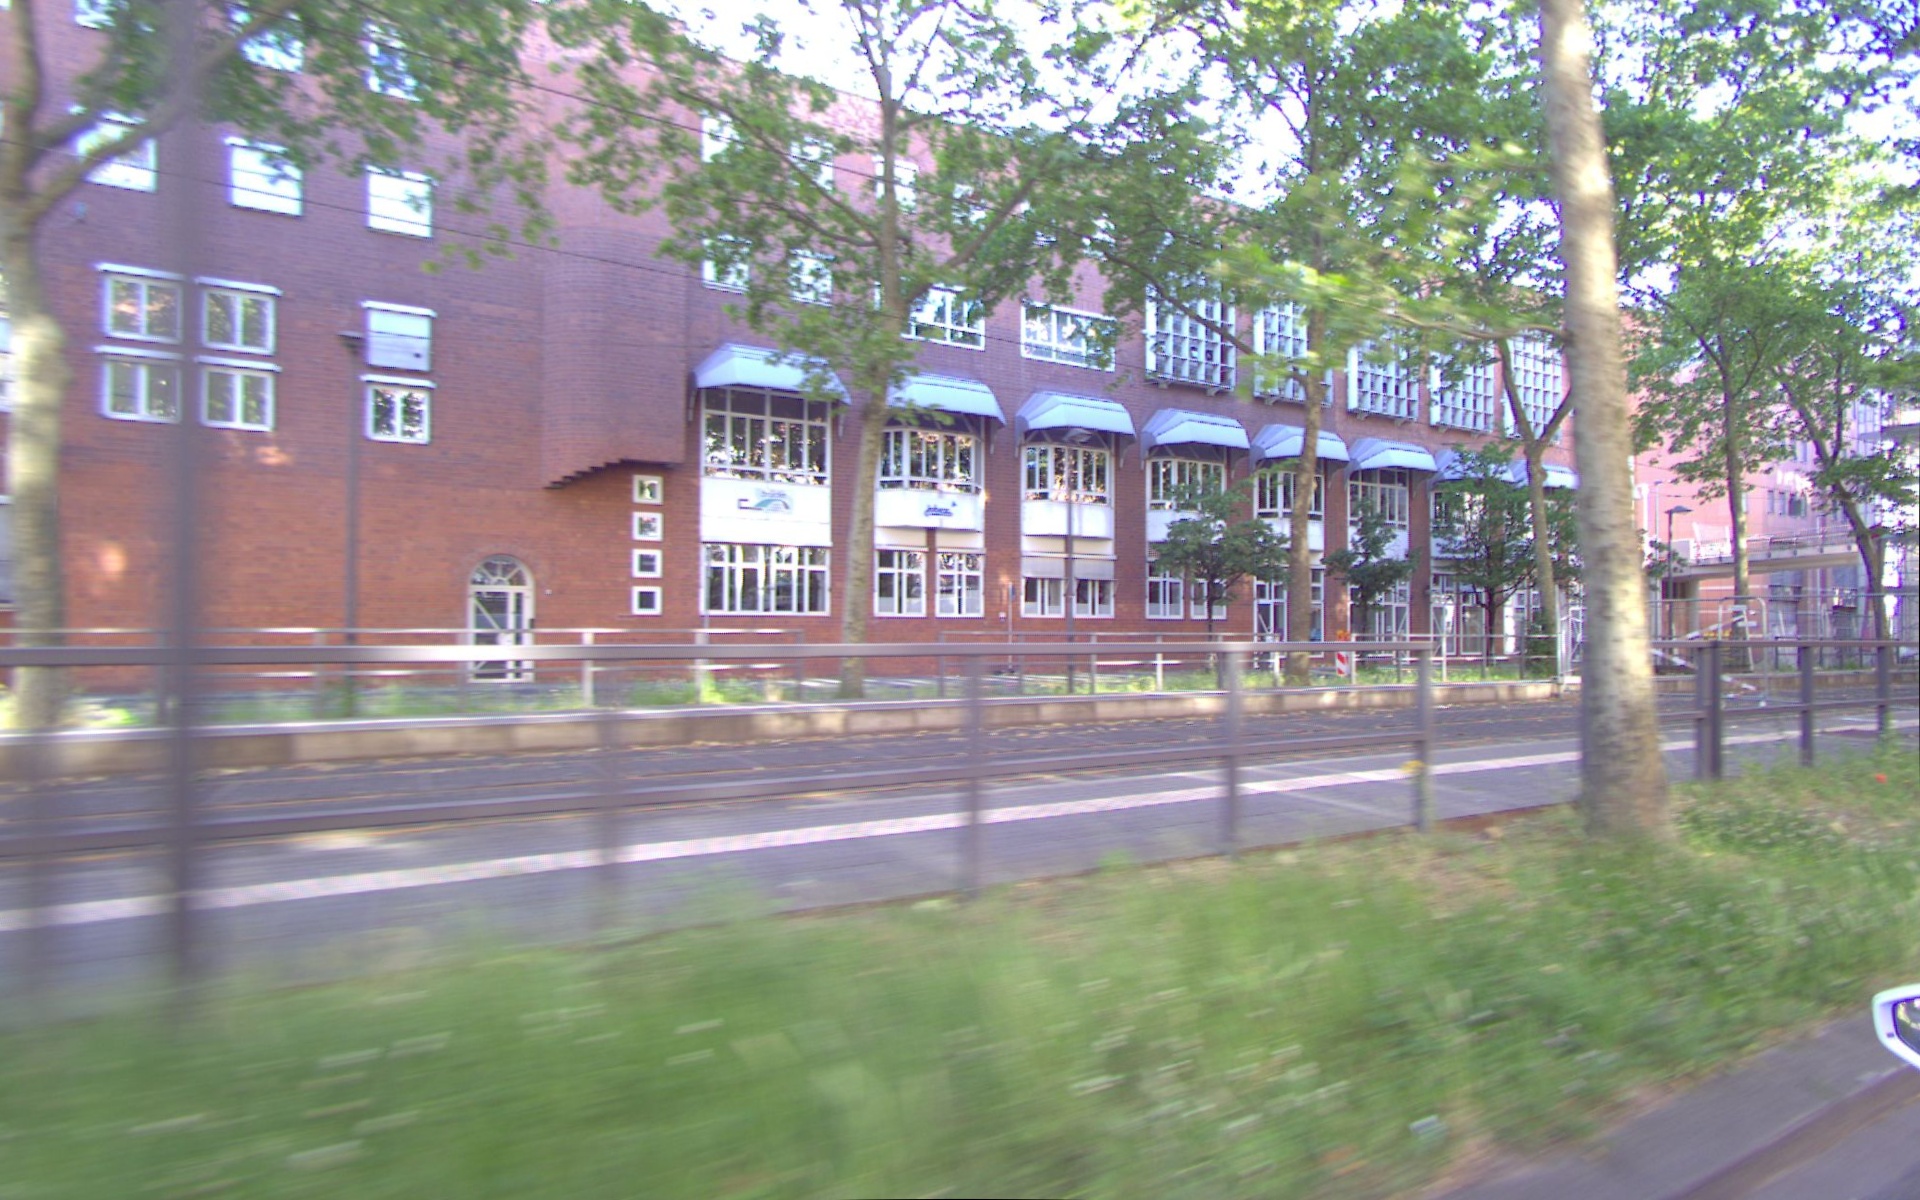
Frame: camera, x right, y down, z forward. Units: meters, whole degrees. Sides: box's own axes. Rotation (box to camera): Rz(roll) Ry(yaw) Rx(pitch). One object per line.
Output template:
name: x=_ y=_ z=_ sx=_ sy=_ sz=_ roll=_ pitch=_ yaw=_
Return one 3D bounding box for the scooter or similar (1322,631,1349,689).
scooter or similar: x=11.629 y=1.851 z=31.142 sx=0.569 sy=1.749 sz=0.526 roll=2 pitch=0 yaw=-37

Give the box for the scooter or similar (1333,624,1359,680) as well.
scooter or similar: x=12.419 y=1.660 z=32.315 sx=0.569 sy=1.749 sz=0.526 roll=2 pitch=0 yaw=-37
